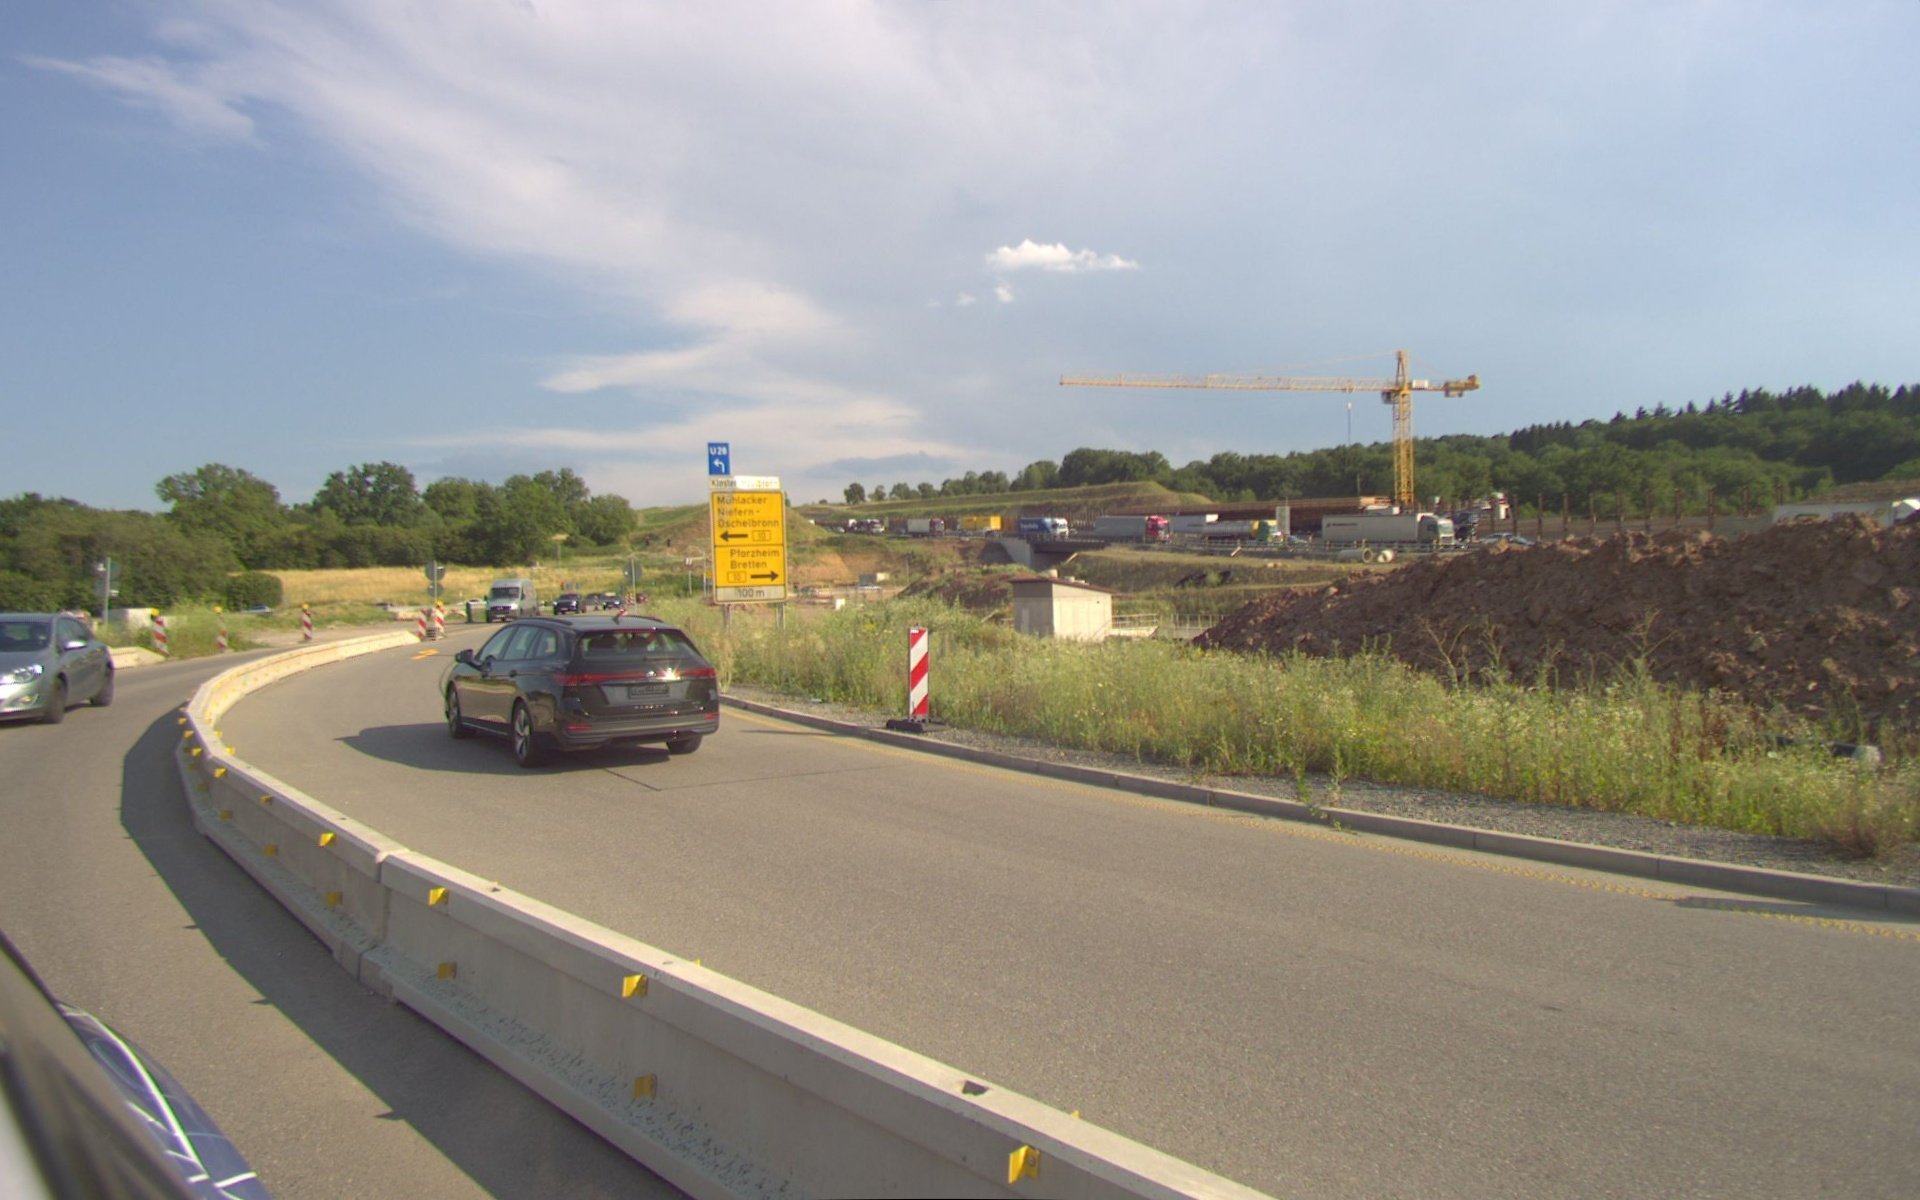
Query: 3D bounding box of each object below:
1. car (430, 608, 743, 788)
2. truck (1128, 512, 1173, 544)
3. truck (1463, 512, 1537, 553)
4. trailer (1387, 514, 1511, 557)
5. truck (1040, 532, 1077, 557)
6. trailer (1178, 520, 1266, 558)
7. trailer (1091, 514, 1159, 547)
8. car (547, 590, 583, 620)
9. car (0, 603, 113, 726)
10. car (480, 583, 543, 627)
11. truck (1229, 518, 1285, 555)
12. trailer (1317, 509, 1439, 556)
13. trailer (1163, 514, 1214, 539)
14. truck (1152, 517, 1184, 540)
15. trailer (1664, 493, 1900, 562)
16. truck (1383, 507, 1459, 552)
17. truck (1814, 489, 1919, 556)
[{"bbox_3d":[-4.203,0.853,10.904,1.689,1.530,4.522,0,0,-41],"label":"car"},{"bbox_3d":[28.756,-10.802,153.130,3.060,4.346,6.919,-1,0,-25],"label":"truck"},{"bbox_3d":[63.084,-7.855,118.364,3.061,4.346,6.917,-1,0,-30],"label":"truck"},{"bbox_3d":[59.690,-7.783,124.217,3.060,4.346,14.295,-1,1,-30],"label":"trailer"},{"bbox_3d":[16.980,-9.585,175.416,2.480,4.031,8.581,-1,0,-24],"label":"truck"},{"bbox_3d":[35.486,-8.184,137.983,3.060,4.346,14.299,-1,0,-25],"label":"trailer"},{"bbox_3d":[25.814,-10.830,159.469,3.060,4.346,14.299,-1,0,-25],"label":"trailer"},{"bbox_3d":[-32.206,0.383,82.594,1.847,2.421,4.007,-1,0,-7],"label":"car"},{"bbox_3d":[-13.248,0.830,13.948,1.719,1.495,4.264,-2,0,-31],"label":"car"},{"bbox_3d":[-27.338,0.291,61.882,1.887,2.520,5.807,-1,0,-7],"label":"car"},{"bbox_3d":[38.498,-8.173,131.410,3.060,4.346,6.919,-1,0,-25],"label":"truck"},{"bbox_3d":[46.399,-7.391,113.240,3.060,4.346,14.299,-1,0,-25],"label":"trailer"},{"bbox_3d":[38.920,-12.522,172.965,1.938,3.540,11.212,-1,0,-25],"label":"trailer"},{"bbox_3d":[36.560,-12.562,178.070,1.943,3.540,6.616,-1,0,-25],"label":"truck"},{"bbox_3d":[63.113,-5.386,78.523,3.060,4.346,14.299,-1,0,-25],"label":"trailer"},{"bbox_3d":[48.977,-7.427,107.719,3.060,4.346,6.919,-1,0,-25],"label":"truck"},{"bbox_3d":[66.015,-5.467,72.283,3.060,4.346,6.919,-1,0,-25],"label":"truck"}]
